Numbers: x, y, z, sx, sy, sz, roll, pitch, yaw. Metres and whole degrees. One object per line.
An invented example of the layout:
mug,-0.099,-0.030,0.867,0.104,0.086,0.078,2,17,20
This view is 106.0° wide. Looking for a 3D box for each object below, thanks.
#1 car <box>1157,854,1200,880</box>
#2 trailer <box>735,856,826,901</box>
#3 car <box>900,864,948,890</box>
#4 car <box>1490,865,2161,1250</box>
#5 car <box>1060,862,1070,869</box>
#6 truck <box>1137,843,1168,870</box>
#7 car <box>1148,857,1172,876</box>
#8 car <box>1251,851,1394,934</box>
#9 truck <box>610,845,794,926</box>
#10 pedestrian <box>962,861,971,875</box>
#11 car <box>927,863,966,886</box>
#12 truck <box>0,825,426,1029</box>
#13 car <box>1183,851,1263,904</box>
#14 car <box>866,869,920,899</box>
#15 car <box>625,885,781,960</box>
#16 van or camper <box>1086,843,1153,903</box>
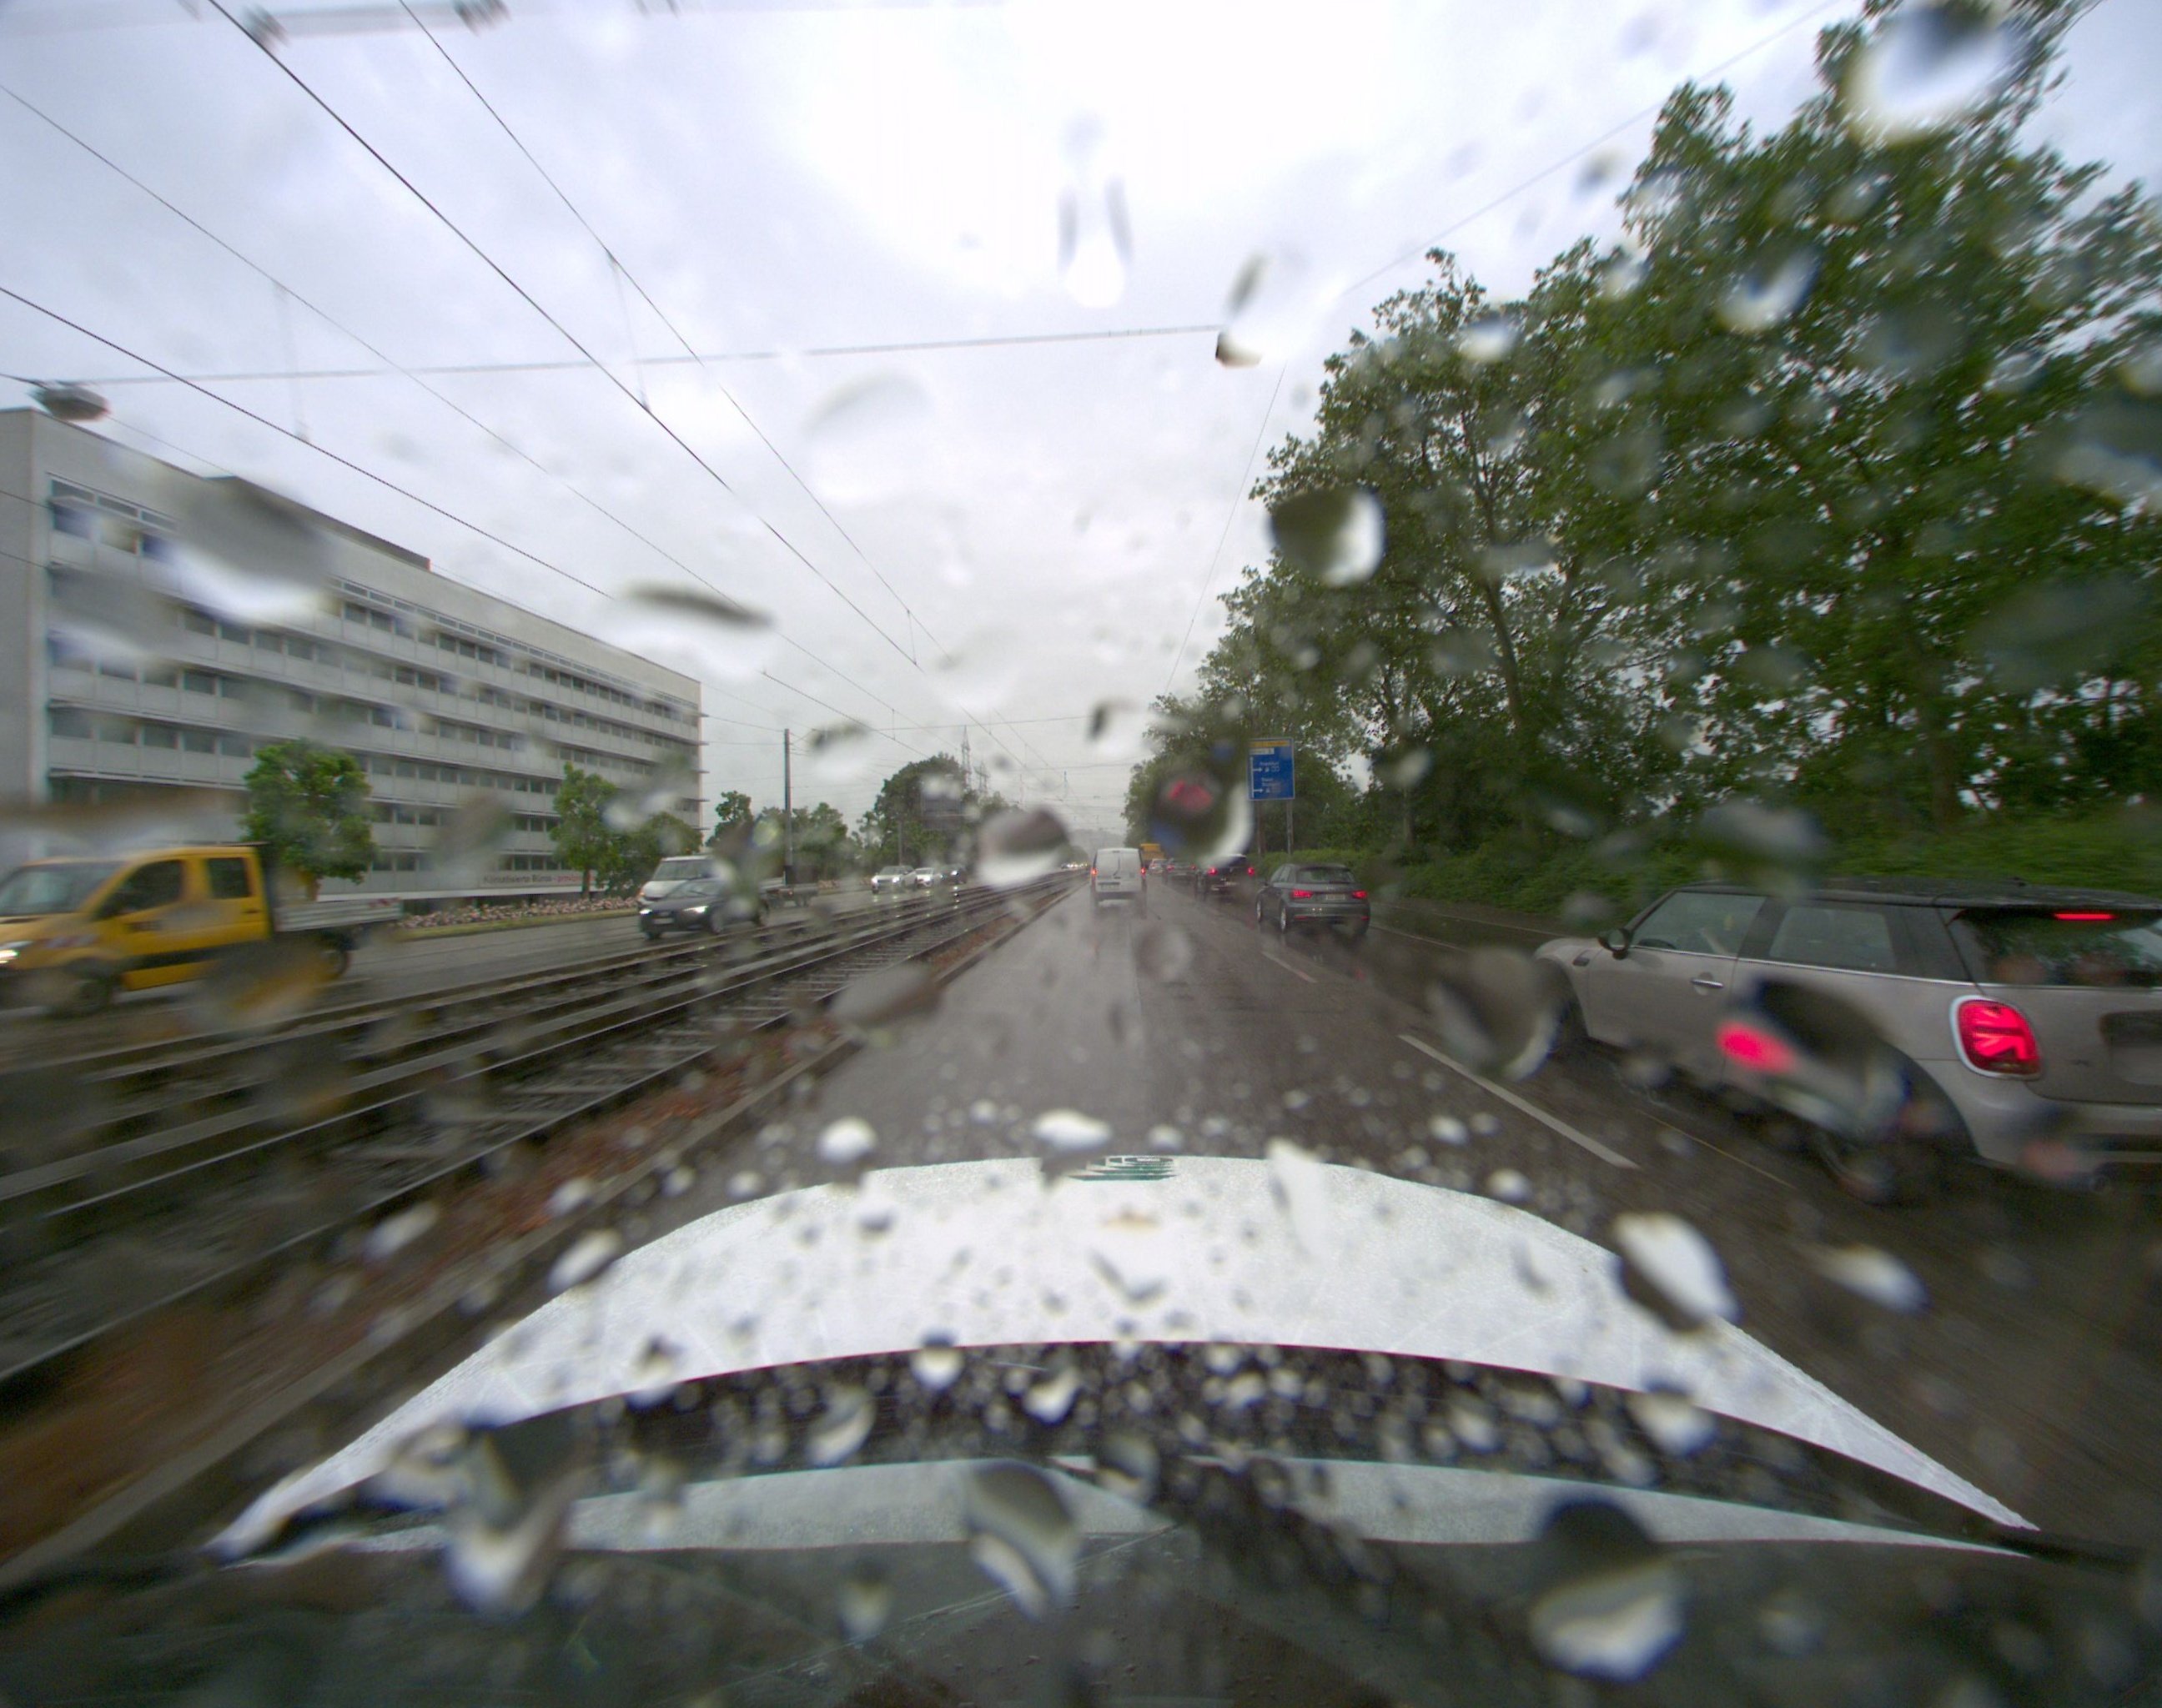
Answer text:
car,5.599,0.737,47.122,1.815,1.414,3.773,0,0,-4
trailer,-12.596,0.984,34.454,2.109,1.793,3.842,1,0,5
car,-10.935,1.596,57.030,1.984,1.583,4.773,-3,0,5
car,4.319,0.811,4.970,1.785,1.414,3.855,1,-1,1
car,-3.919,2.865,203.214,1.984,1.618,4.258,-2,0,5
truck,7.706,0.254,88.112,3.100,2.773,6.333,-1,0,3
car,6.505,1.013,67.311,1.810,1.414,3.782,0,0,3
car,4.947,0.713,17.281,1.960,1.528,3.992,0,0,1
truck,-12.941,0.988,28.659,2.422,2.458,7.231,1,0,6
pedestrian,-14.659,1.775,104.230,0.848,1.759,1.121,-2,-1,3
car,-10.773,1.618,65.554,1.985,1.721,4.886,-2,0,3
truck,-14.029,0.970,12.775,2.217,2.461,6.072,-4,-1,4
car,4.939,0.758,28.993,1.894,1.717,4.722,0,0,-2
car,-11.298,1.771,49.175,1.763,1.682,4.696,1,0,5
car,-9.873,1.732,21.721,1.811,1.623,4.539,-1,-1,3
van or camper,1.159,0.540,26.138,1.987,1.784,4.000,0,1,0
